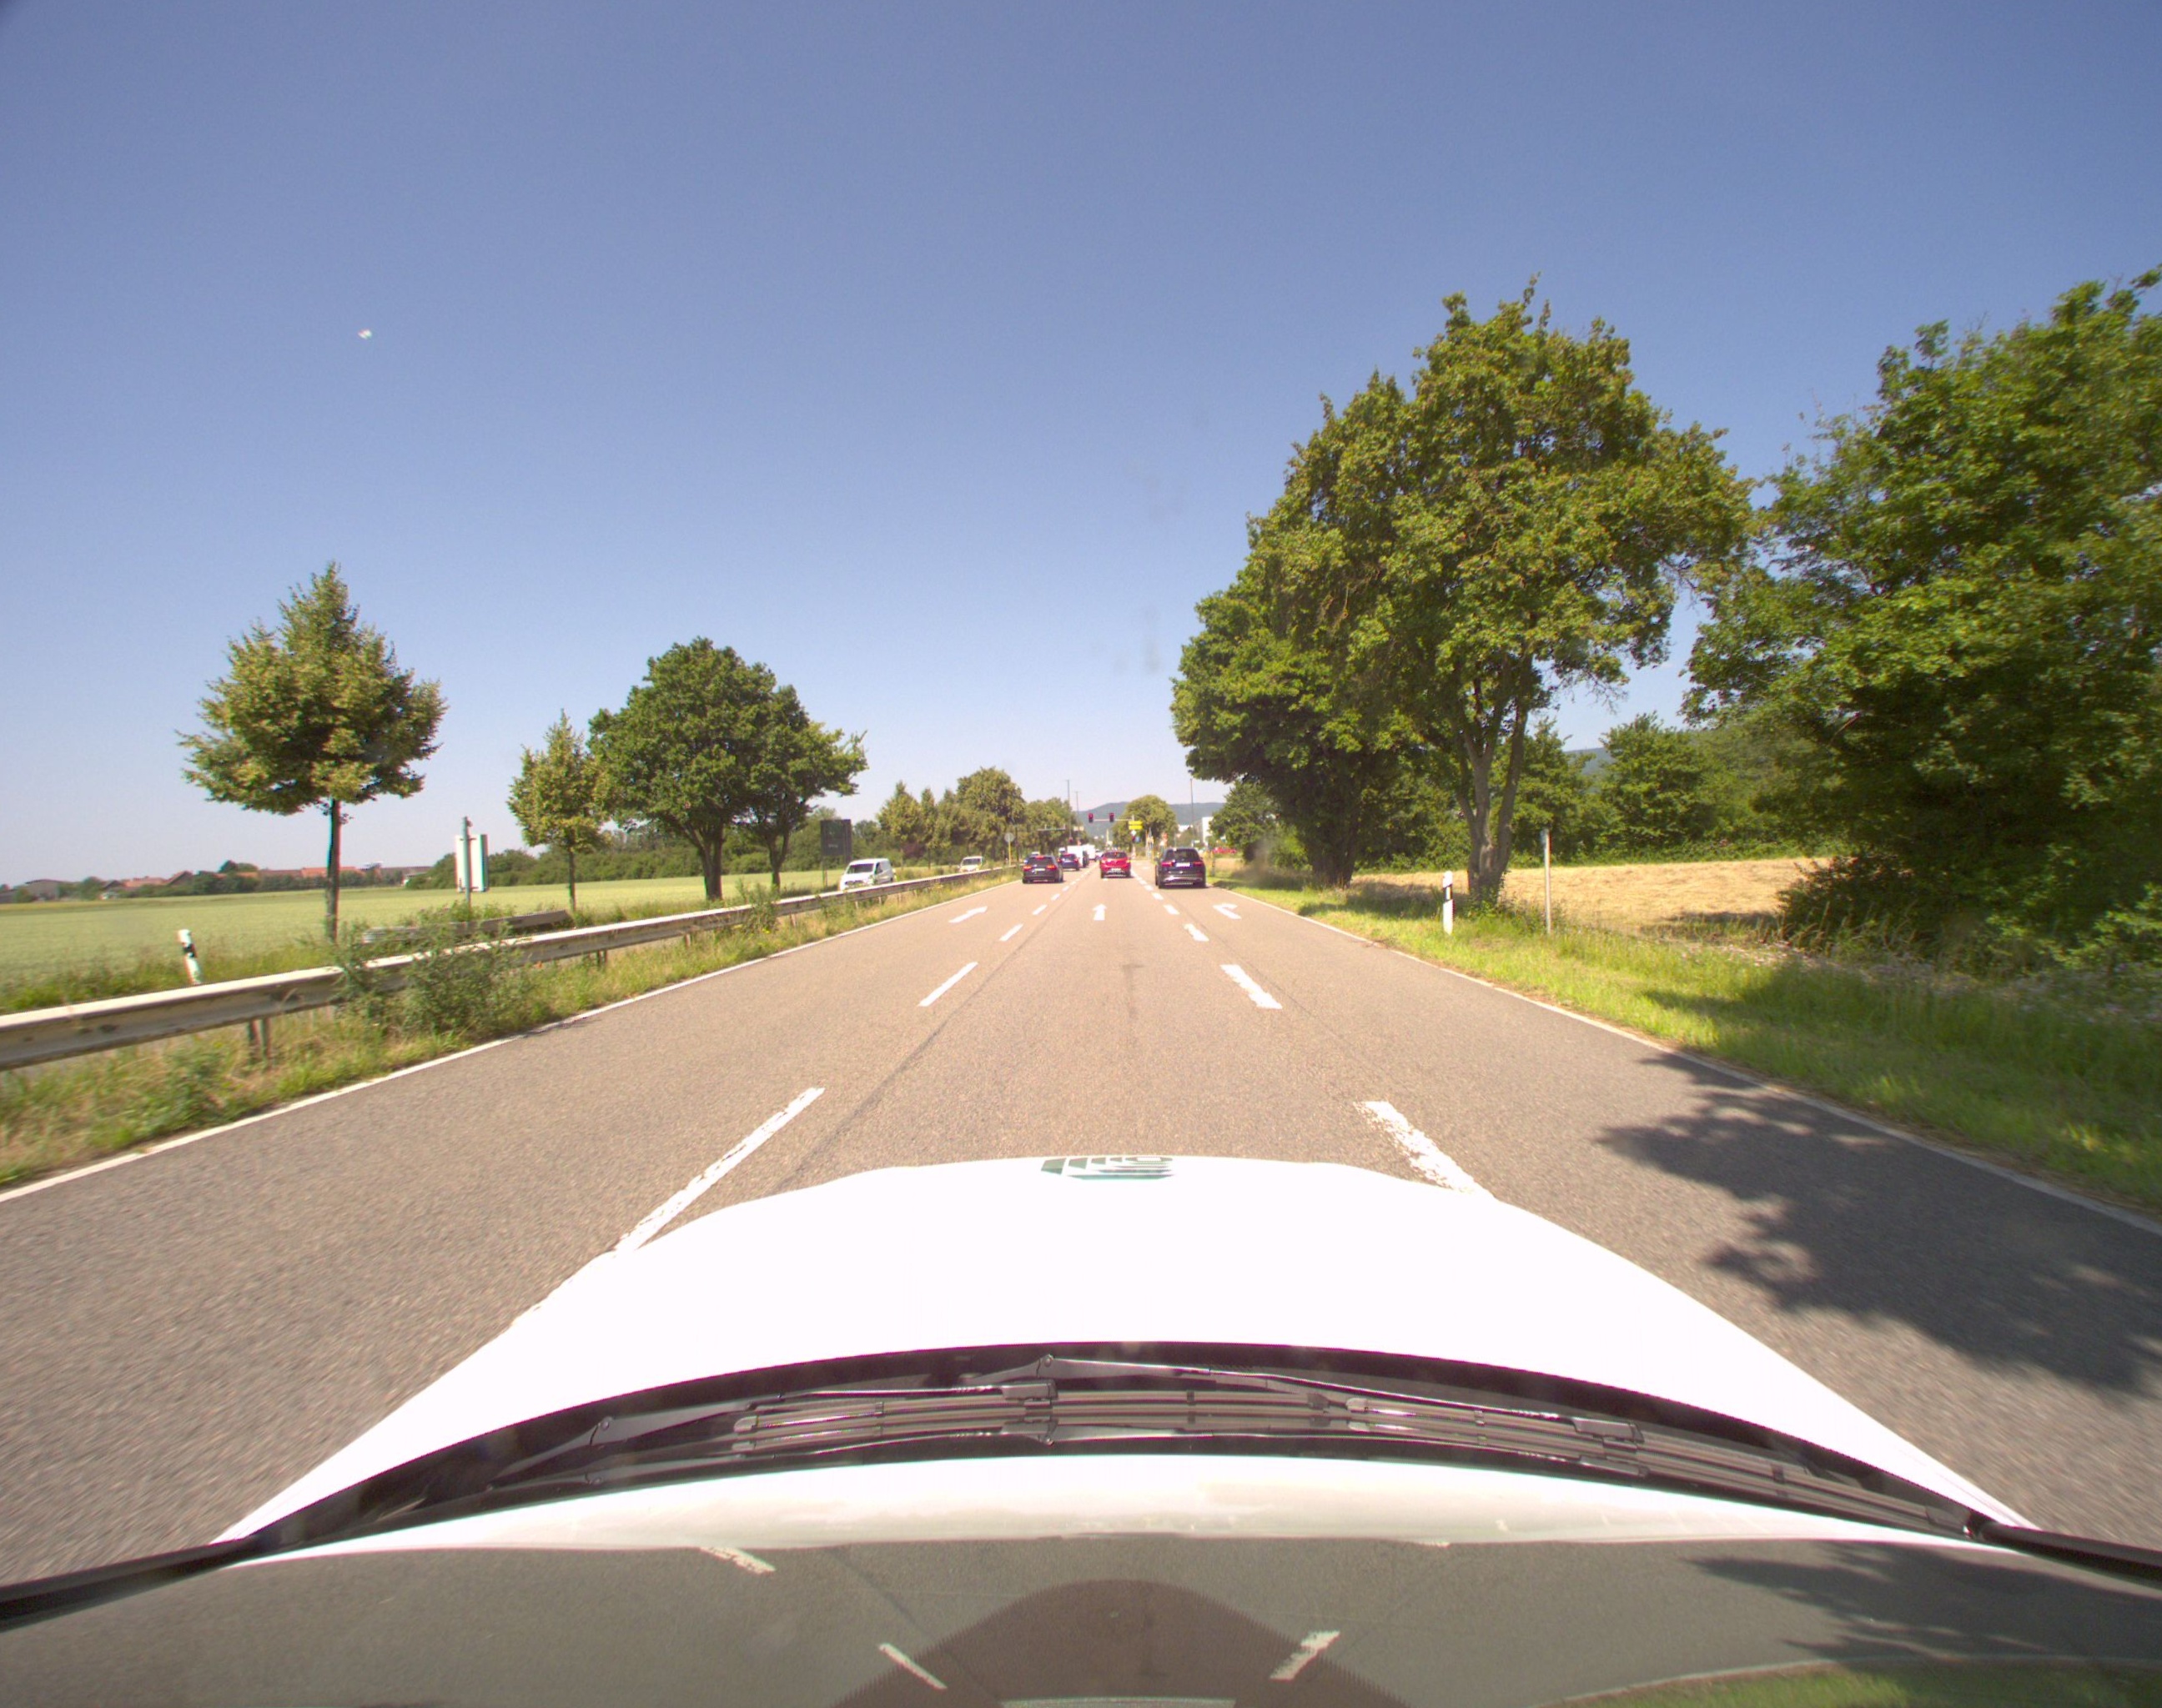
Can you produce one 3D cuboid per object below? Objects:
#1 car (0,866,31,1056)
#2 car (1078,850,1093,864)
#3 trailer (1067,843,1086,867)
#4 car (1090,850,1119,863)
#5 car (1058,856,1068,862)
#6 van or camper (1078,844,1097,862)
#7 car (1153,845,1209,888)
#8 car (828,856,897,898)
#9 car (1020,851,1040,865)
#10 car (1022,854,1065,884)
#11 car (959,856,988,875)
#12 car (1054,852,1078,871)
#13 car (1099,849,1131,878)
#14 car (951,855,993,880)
[{"bbox_3d":[-12.561,1.193,6.616,2.030,2.013,4.534,-3,0,1],"label":"car"},{"bbox_3d":[0.600,0.358,100.935,1.717,1.600,3.958,-1,0,3],"label":"car"},{"bbox_3d":[-0.400,0.099,76.729,1.495,2.173,4.176,-2,0,2],"label":"trailer"},{"bbox_3d":[3.862,0.355,132.776,4.459,1.868,1.892,-3,0,12],"label":"car"},{"bbox_3d":[-4.236,1.175,191.406,1.872,1.454,4.506,-3,0,1],"label":"car"},{"bbox_3d":[0.924,-0.164,112.421,2.170,2.302,4.831,-3,0,3],"label":"van or camper"},{"bbox_3d":[4.039,0.473,33.441,1.985,1.616,4.344,-1,0,4],"label":"car"},{"bbox_3d":[-11.444,1.160,42.985,1.985,1.960,4.932,-2,0,3],"label":"car"},{"bbox_3d":[-6.514,0.477,104.180,1.986,1.662,4.482,-3,0,1],"label":"car"},{"bbox_3d":[-1.840,0.715,41.302,1.733,1.380,4.458,-2,0,2],"label":"car"},{"bbox_3d":[-10.016,1.031,76.328,1.986,1.662,4.482,-2,0,1],"label":"car"},{"bbox_3d":[-1.198,0.572,65.759,1.710,1.465,4.032,-2,0,2],"label":"car"},{"bbox_3d":[2.024,0.495,47.259,1.742,1.575,3.680,-1,0,4],"label":"car"},{"bbox_3d":[-7.322,0.865,55.172,1.985,1.557,4.483,-2,0,2],"label":"car"}]
